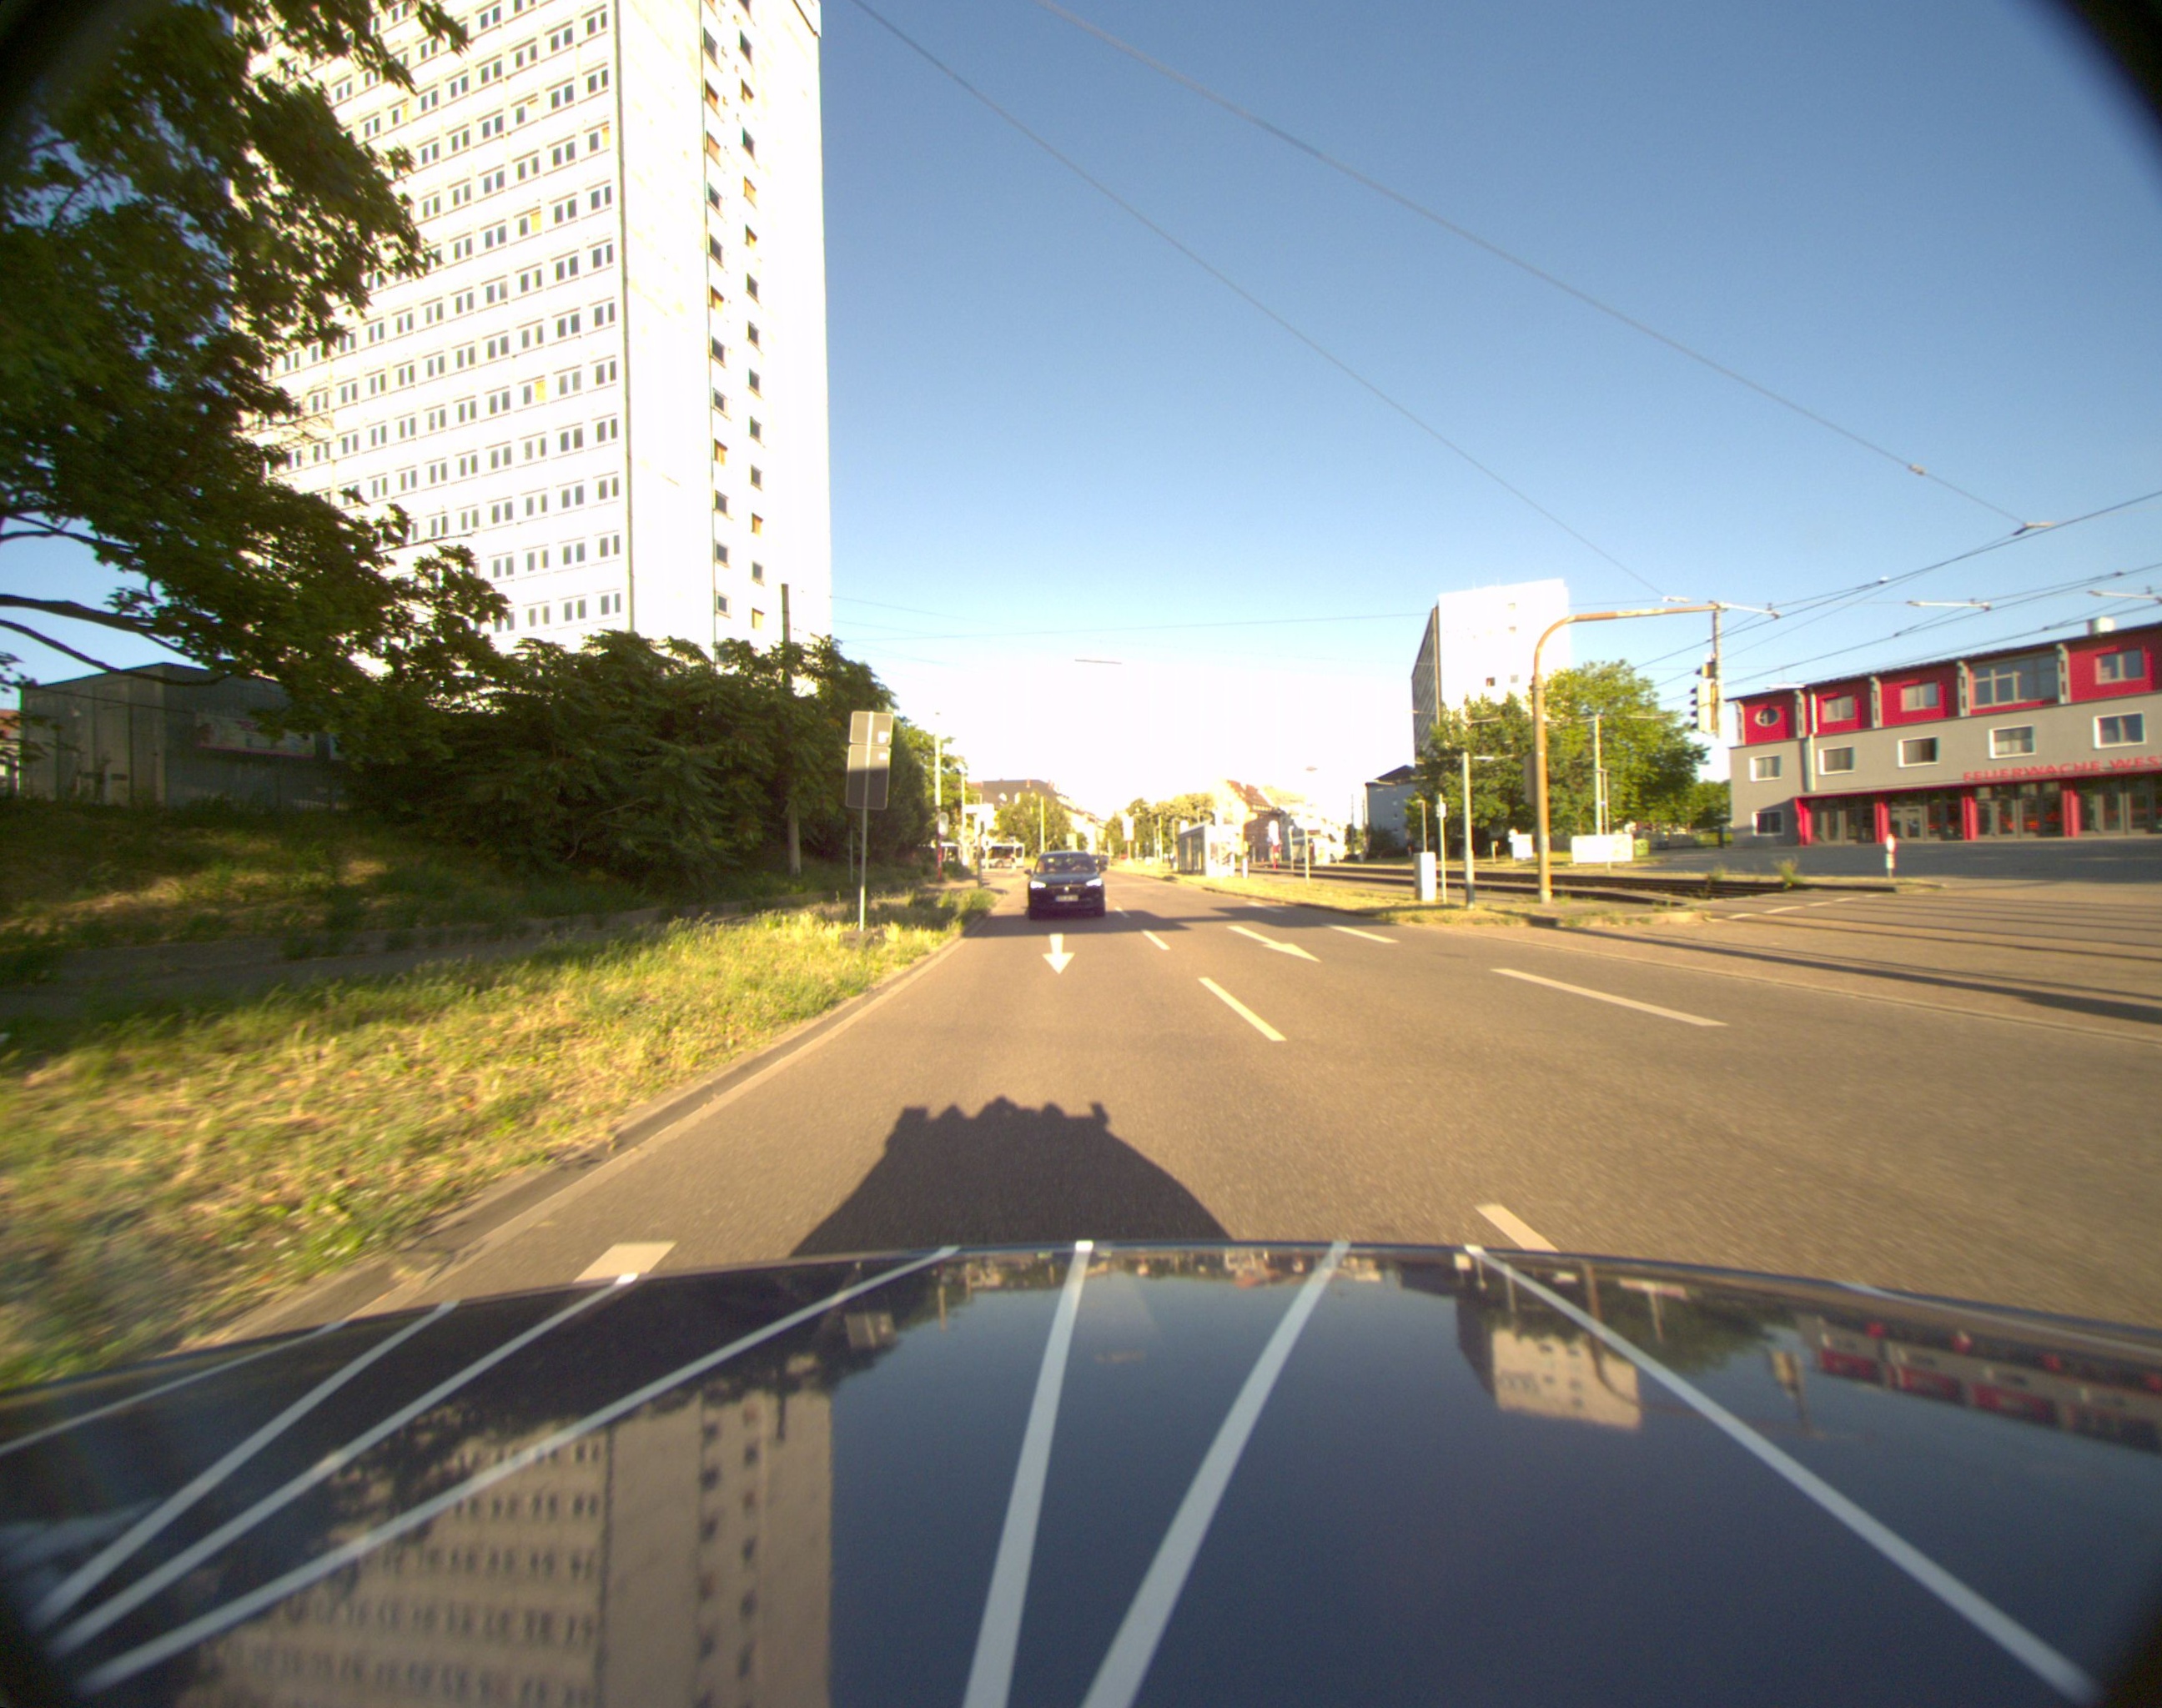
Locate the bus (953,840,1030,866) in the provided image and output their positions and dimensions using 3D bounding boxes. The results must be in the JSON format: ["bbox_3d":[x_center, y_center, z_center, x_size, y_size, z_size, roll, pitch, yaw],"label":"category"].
[{"bbox_3d":[-10.787,-0.157,91.811,8.872,3.007,2.607,-1,1,-30],"label":"bus"}]

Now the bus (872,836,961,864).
[{"bbox_3d":[-18.845,-0.507,87.210,9.592,3.007,2.607,-1,1,-30],"label":"bus"}]

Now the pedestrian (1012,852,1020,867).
[{"bbox_3d":[-7.027,0.564,82.385,0.592,1.586,0.547,-1,1,34],"label":"pedestrian"}]

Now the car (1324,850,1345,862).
[{"bbox_3d":[34.637,0.322,103.855,1.740,1.539,4.438,-2,0,6],"label":"car"}]

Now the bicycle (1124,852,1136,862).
[{"bbox_3d":[5.319,0.316,82.105,0.606,0.988,1.750,-1,0,28],"label":"bicycle"}]

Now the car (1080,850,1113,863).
[{"bbox_3d":[1.976,0.292,96.292,3.987,1.465,1.737,-1,0,-44],"label":"car"}]

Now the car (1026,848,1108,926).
[{"bbox_3d":[-0.343,0.734,19.588,1.818,1.670,4.622,-1,1,-1],"label":"car"}]
